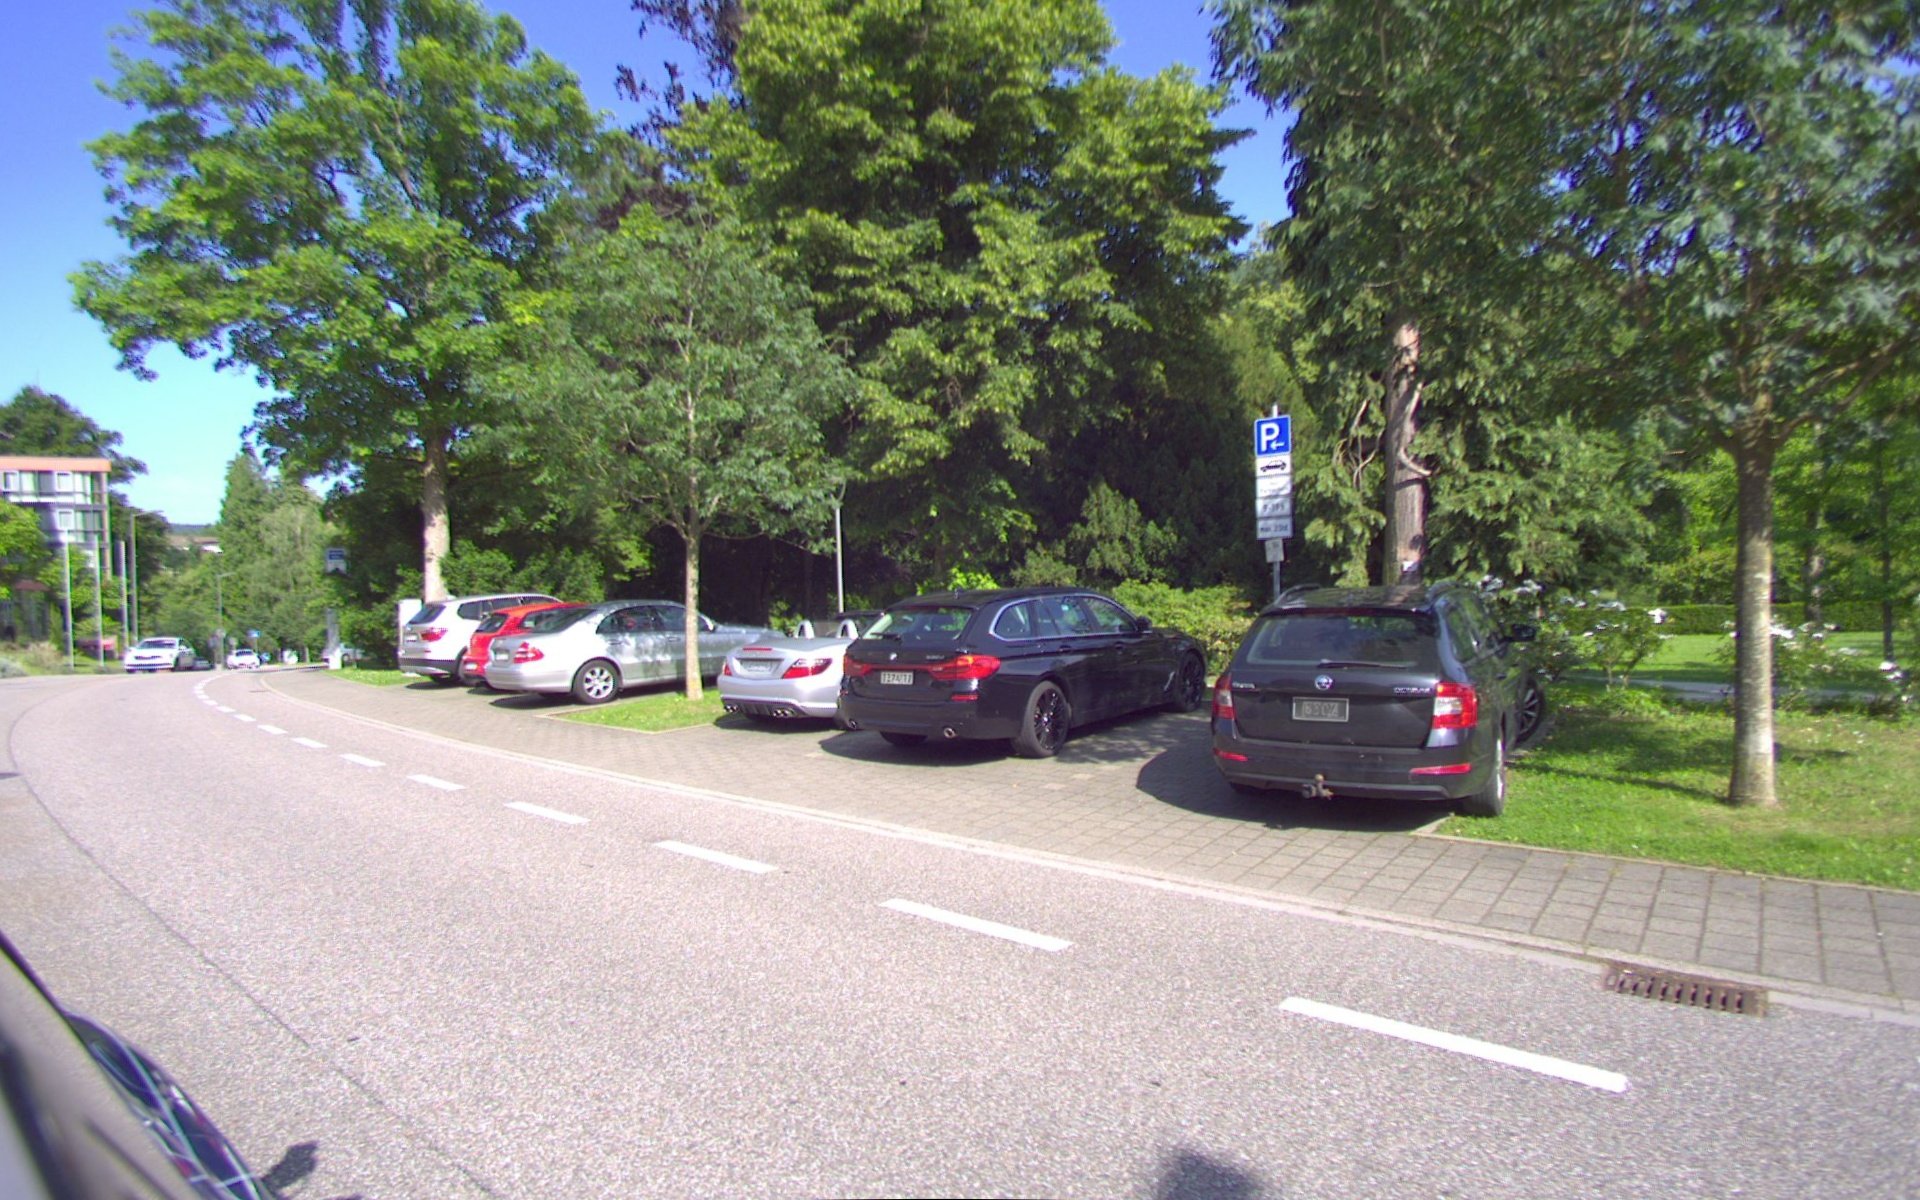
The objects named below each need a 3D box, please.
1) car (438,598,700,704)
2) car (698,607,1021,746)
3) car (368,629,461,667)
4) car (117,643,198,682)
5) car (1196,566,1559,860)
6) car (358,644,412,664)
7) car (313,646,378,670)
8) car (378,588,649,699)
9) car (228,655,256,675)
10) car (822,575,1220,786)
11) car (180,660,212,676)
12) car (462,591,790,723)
[{"bbox_3d":[-6.864,0.815,18.029,3.942,1.443,1.721,-5,3,-44],"label":"car"},{"bbox_3d":[-1.076,0.804,12.289,1.761,1.252,3.757,-1,1,39],"label":"car"},{"bbox_3d":[-25.488,2.226,47.402,3.626,1.498,1.571,-3,-1,-24],"label":"car"},{"bbox_3d":[-33.281,2.572,42.065,1.711,1.508,3.942,-1,-2,-24],"label":"car"},{"bbox_3d":[3.361,0.558,7.579,1.708,1.442,4.242,-2,2,33],"label":"car"},{"bbox_3d":[-52.011,4.854,91.598,1.516,1.488,3.945,-5,-2,42],"label":"car"},{"bbox_3d":[-45.346,4.296,74.808,1.505,1.408,3.973,-5,-1,20],"label":"car"},{"bbox_3d":[-8.575,0.743,19.754,1.809,1.675,4.436,-1,3,42],"label":"car"},{"bbox_3d":[-57.568,5.211,81.100,1.713,1.408,4.008,-1,-1,-37],"label":"car"},{"bbox_3d":[0.852,0.607,10.195,1.711,1.521,4.451,-2,2,39],"label":"car"},{"bbox_3d":[-81.581,7.266,107.996,3.994,1.516,1.754,-4,-3,38],"label":"car"},{"bbox_3d":[-5.051,0.756,15.724,4.430,1.428,1.812,-6,4,-42],"label":"car"}]
